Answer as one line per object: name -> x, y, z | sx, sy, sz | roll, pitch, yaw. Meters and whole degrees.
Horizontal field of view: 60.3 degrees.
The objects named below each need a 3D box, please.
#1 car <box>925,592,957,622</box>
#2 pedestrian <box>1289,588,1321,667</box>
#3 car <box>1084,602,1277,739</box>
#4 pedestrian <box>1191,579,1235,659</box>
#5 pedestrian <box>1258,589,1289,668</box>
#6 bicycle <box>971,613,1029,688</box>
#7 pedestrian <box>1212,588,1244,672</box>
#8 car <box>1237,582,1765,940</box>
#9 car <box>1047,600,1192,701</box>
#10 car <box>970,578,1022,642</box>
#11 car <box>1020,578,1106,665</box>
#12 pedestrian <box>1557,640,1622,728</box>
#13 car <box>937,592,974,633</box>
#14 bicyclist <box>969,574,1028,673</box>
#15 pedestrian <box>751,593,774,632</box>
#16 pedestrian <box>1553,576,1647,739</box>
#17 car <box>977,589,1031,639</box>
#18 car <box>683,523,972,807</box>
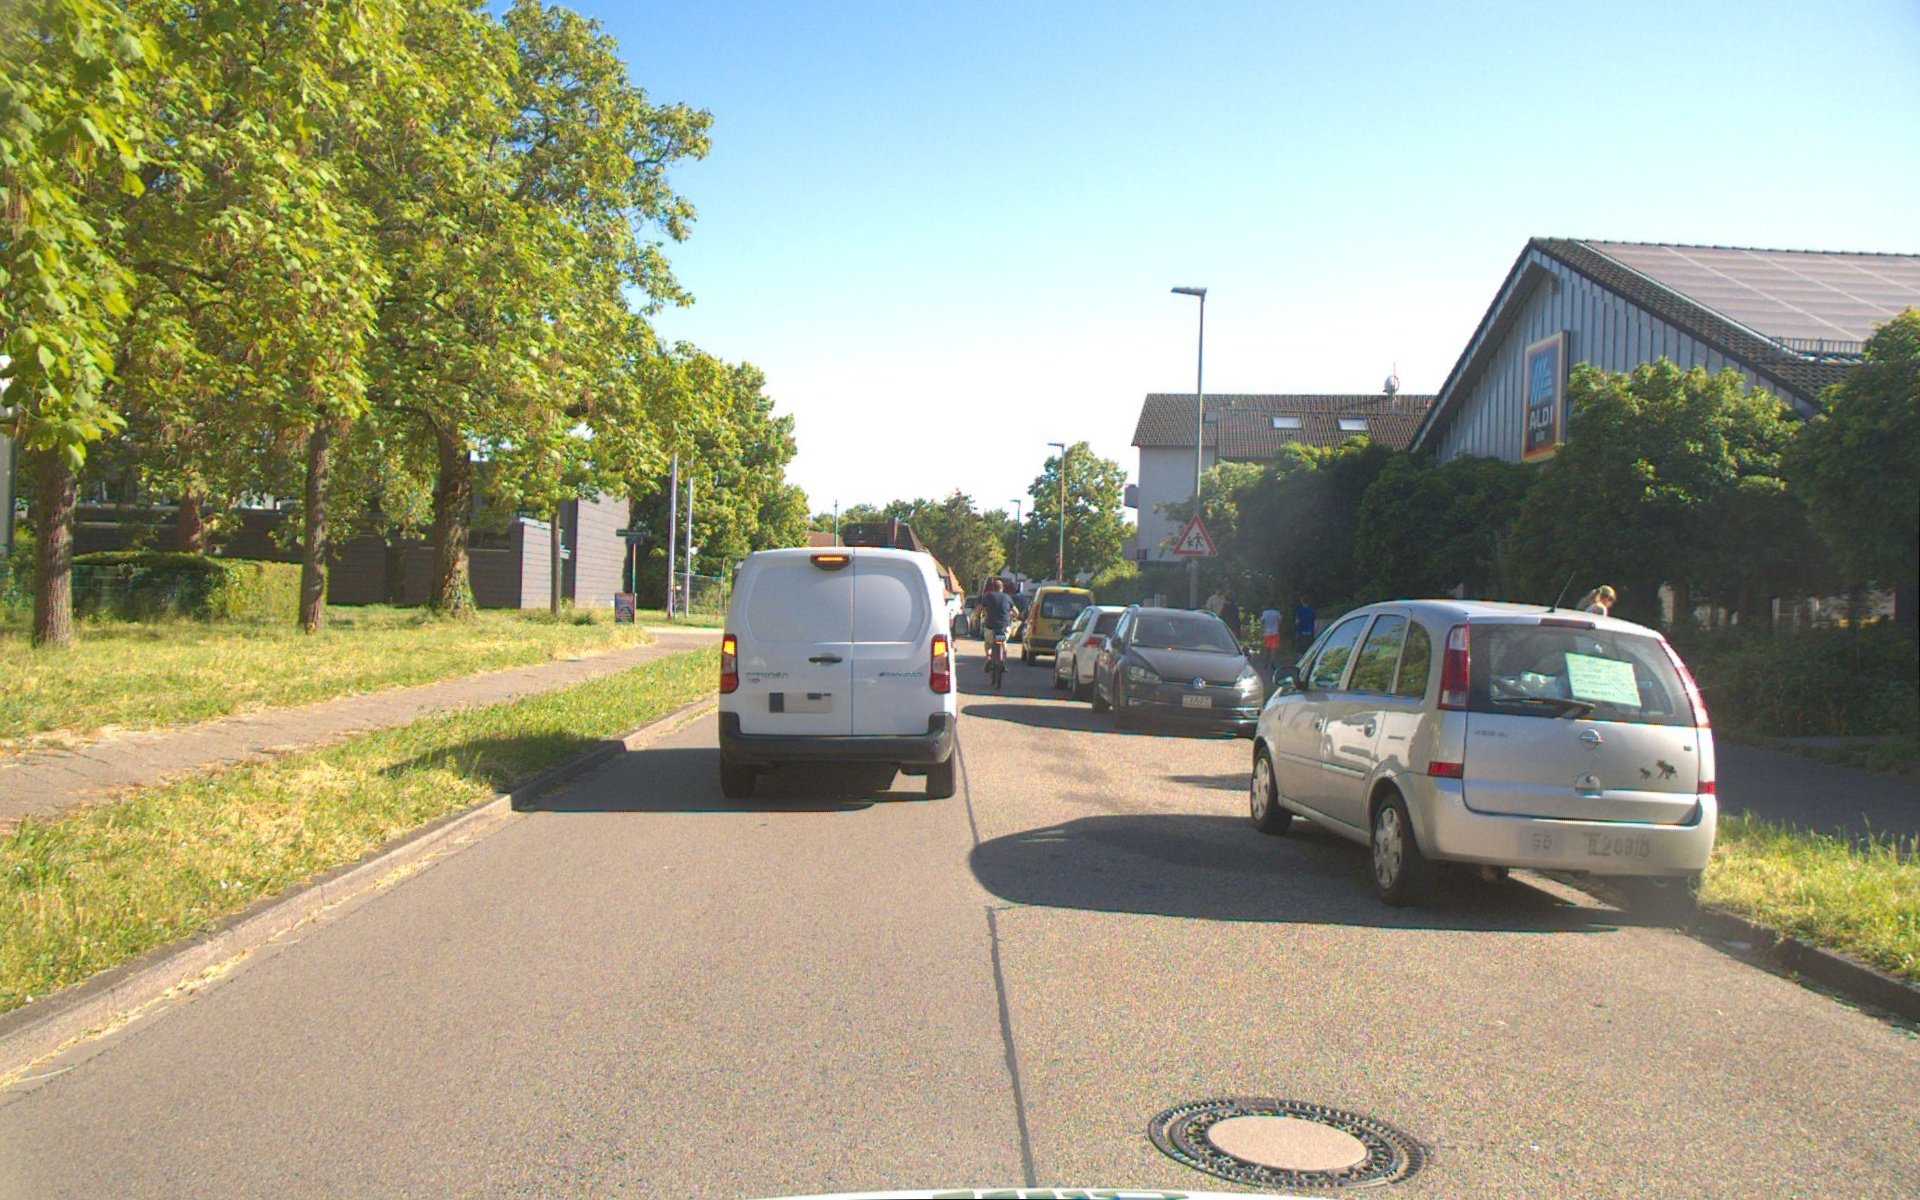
car -> -1.265, 0.512, 112.346 | 1.766, 1.874, 4.001 | 4, -1, 3
pedestrian -> 7.384, 0.587, 35.449 | 0.555, 1.665, 0.547 | 2, 0, 4
car -> 2.687, 0.809, 21.081 | 1.771, 1.468, 4.362 | 2, 0, -1
pedestrian -> 6.111, 0.446, 40.031 | 0.779, 1.894, 0.873 | 2, 0, -9
pedestrian -> 6.734, 0.610, 35.563 | 0.555, 1.665, 0.547 | 2, 0, 4
bicycle -> 0.648, 0.823, 27.869 | 0.771, 1.158, 2.278 | 2, 0, -3
pedestrian -> 5.415, 0.608, 33.463 | 0.555, 1.665, 0.547 | 2, 0, 4
car -> 2.992, 0.806, 10.102 | 1.646, 1.627, 4.026 | 5, -1, -3
car -> 2.548, 0.782, 27.261 | 1.790, 1.477, 3.998 | 2, 0, -3
car -> 1.538, 0.449, 72.692 | 1.829, 2.607, 4.765 | 4, -1, -3
car -> 2.363, 0.489, 38.828 | 1.689, 1.869, 3.999 | 2, 0, 0
pedestrian -> 7.556, 0.995, 19.866 | 0.521, 0.997, 0.811 | 2, 0, 6
car -> -0.250, 0.694, 92.013 | 1.768, 2.104, 3.998 | 4, -1, -3
bicyclist -> 0.642, 0.395, 27.986 | 0.887, 1.612, 0.966 | 2, -1, -3
pedestrian -> -7.787, 0.487, 65.278 | 0.500, 1.470, 0.637 | 4, 0, 32
pedestrian -> 7.347, 0.648, 19.025 | 0.781, 1.813, 0.809 | 2, 0, 7
car -> 1.718, 0.564, 65.493 | 1.768, 1.816, 3.998 | 4, -1, -3
car -> -0.911, 0.439, 13.639 | 1.953, 1.914, 4.289 | 2, 0, 0
